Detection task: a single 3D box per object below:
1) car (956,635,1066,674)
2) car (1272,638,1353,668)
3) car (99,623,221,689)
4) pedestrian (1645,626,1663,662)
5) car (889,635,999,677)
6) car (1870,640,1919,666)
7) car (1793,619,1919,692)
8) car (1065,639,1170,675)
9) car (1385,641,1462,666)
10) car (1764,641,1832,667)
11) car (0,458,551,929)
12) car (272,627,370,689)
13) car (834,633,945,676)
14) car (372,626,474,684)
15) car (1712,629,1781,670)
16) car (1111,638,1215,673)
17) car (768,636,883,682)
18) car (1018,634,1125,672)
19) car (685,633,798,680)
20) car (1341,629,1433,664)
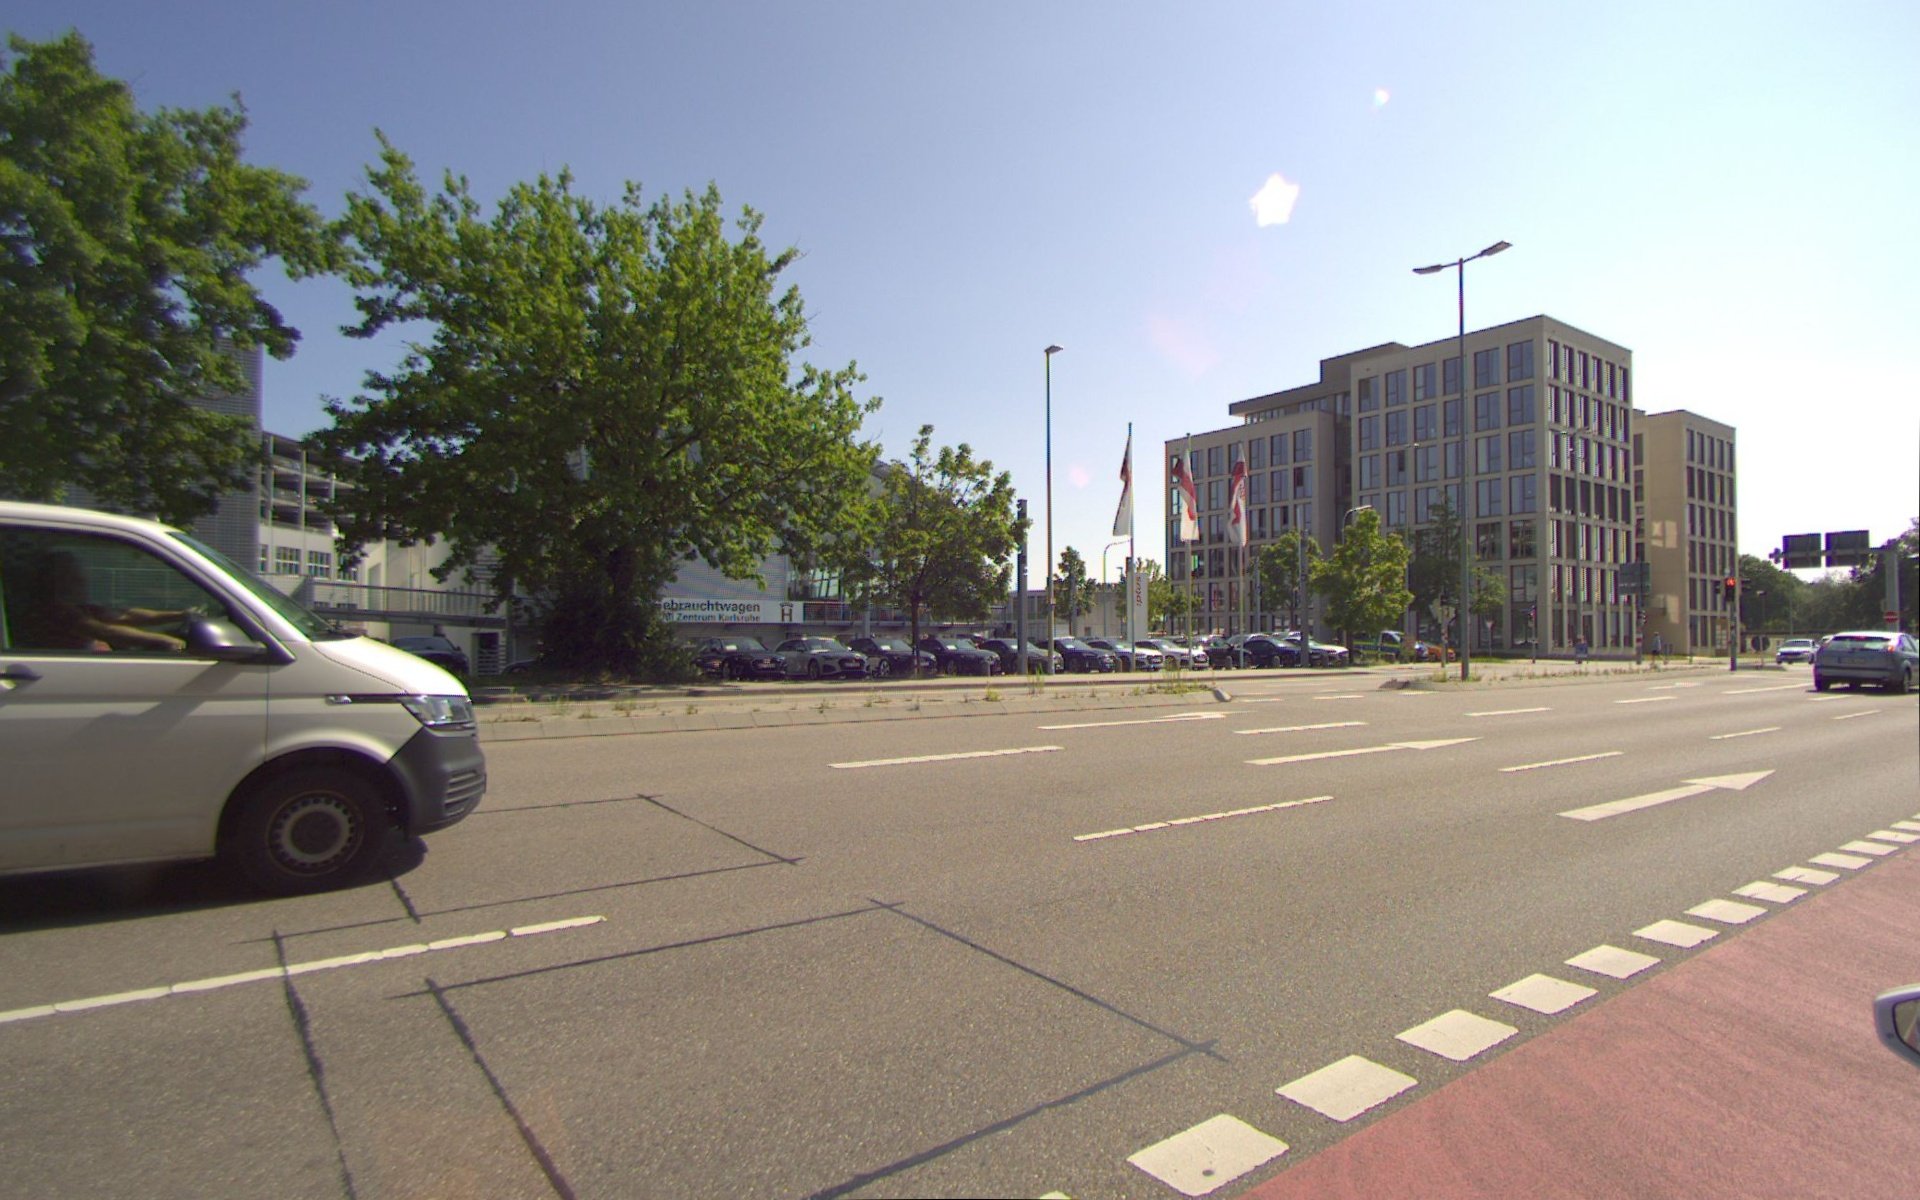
[{"bbox_3d":[1.815,1.978,36.909,1.982,1.361,3.959,1,-3,-37],"label":"car"},{"bbox_3d":[16.755,2.486,47.851,1.627,1.361,3.393,1,-3,-32],"label":"car"},{"bbox_3d":[-18.363,1.265,23.226,1.905,1.394,3.962,1,-3,-35],"label":"car"},{"bbox_3d":[40.303,2.551,58.328,0.745,2.041,0.932,1,1,30],"label":"pedestrian"},{"bbox_3d":[-0.631,1.928,35.246,1.981,1.361,3.960,1,-3,-36],"label":"car"},{"bbox_3d":[57.320,3.210,61.150,3.955,1.483,1.807,1,-3,-31],"label":"car"},{"bbox_3d":[23.235,1.390,25.697,3.960,1.706,1.981,2,-3,-35],"label":"car"},{"bbox_3d":[6.223,2.239,40.039,1.981,1.361,3.960,1,-3,-36],"label":"car"},{"bbox_3d":[28.883,3.305,62.676,1.979,1.483,3.964,2,-3,-34],"label":"car"},{"bbox_3d":[49.107,3.157,58.845,3.955,1.483,1.883,1,-3,-31],"label":"car"},{"bbox_3d":[-4.824,0.425,4.968,4.924,2.020,1.870,1,-2,-35],"label":"car"},{"bbox_3d":[-15.884,1.406,24.884,1.905,1.394,3.962,1,-3,-35],"label":"car"},{"bbox_3d":[-2.441,1.799,33.845,1.981,1.361,3.960,1,-3,-36],"label":"car"},{"bbox_3d":[-14.107,1.410,26.276,1.905,1.394,3.962,1,-3,-35],"label":"car"},{"bbox_3d":[28.751,1.783,36.705,2.770,1.349,1.207,0,1,-34],"label":"car"},{"bbox_3d":[8.379,2.272,41.669,1.981,1.361,3.960,1,-3,-36],"label":"car"},{"bbox_3d":[-4.397,1.855,32.308,1.981,1.361,4.122,1,-3,-36],"label":"car"},{"bbox_3d":[4.225,2.015,38.548,1.981,1.361,3.960,1,-3,-36],"label":"car"},{"bbox_3d":[-6.738,1.695,30.710,1.981,1.328,3.960,1,-3,-36],"label":"car"},{"bbox_3d":[25.942,2.816,61.139,1.979,2.077,4.886,2,-3,-33],"label":"car"}]
